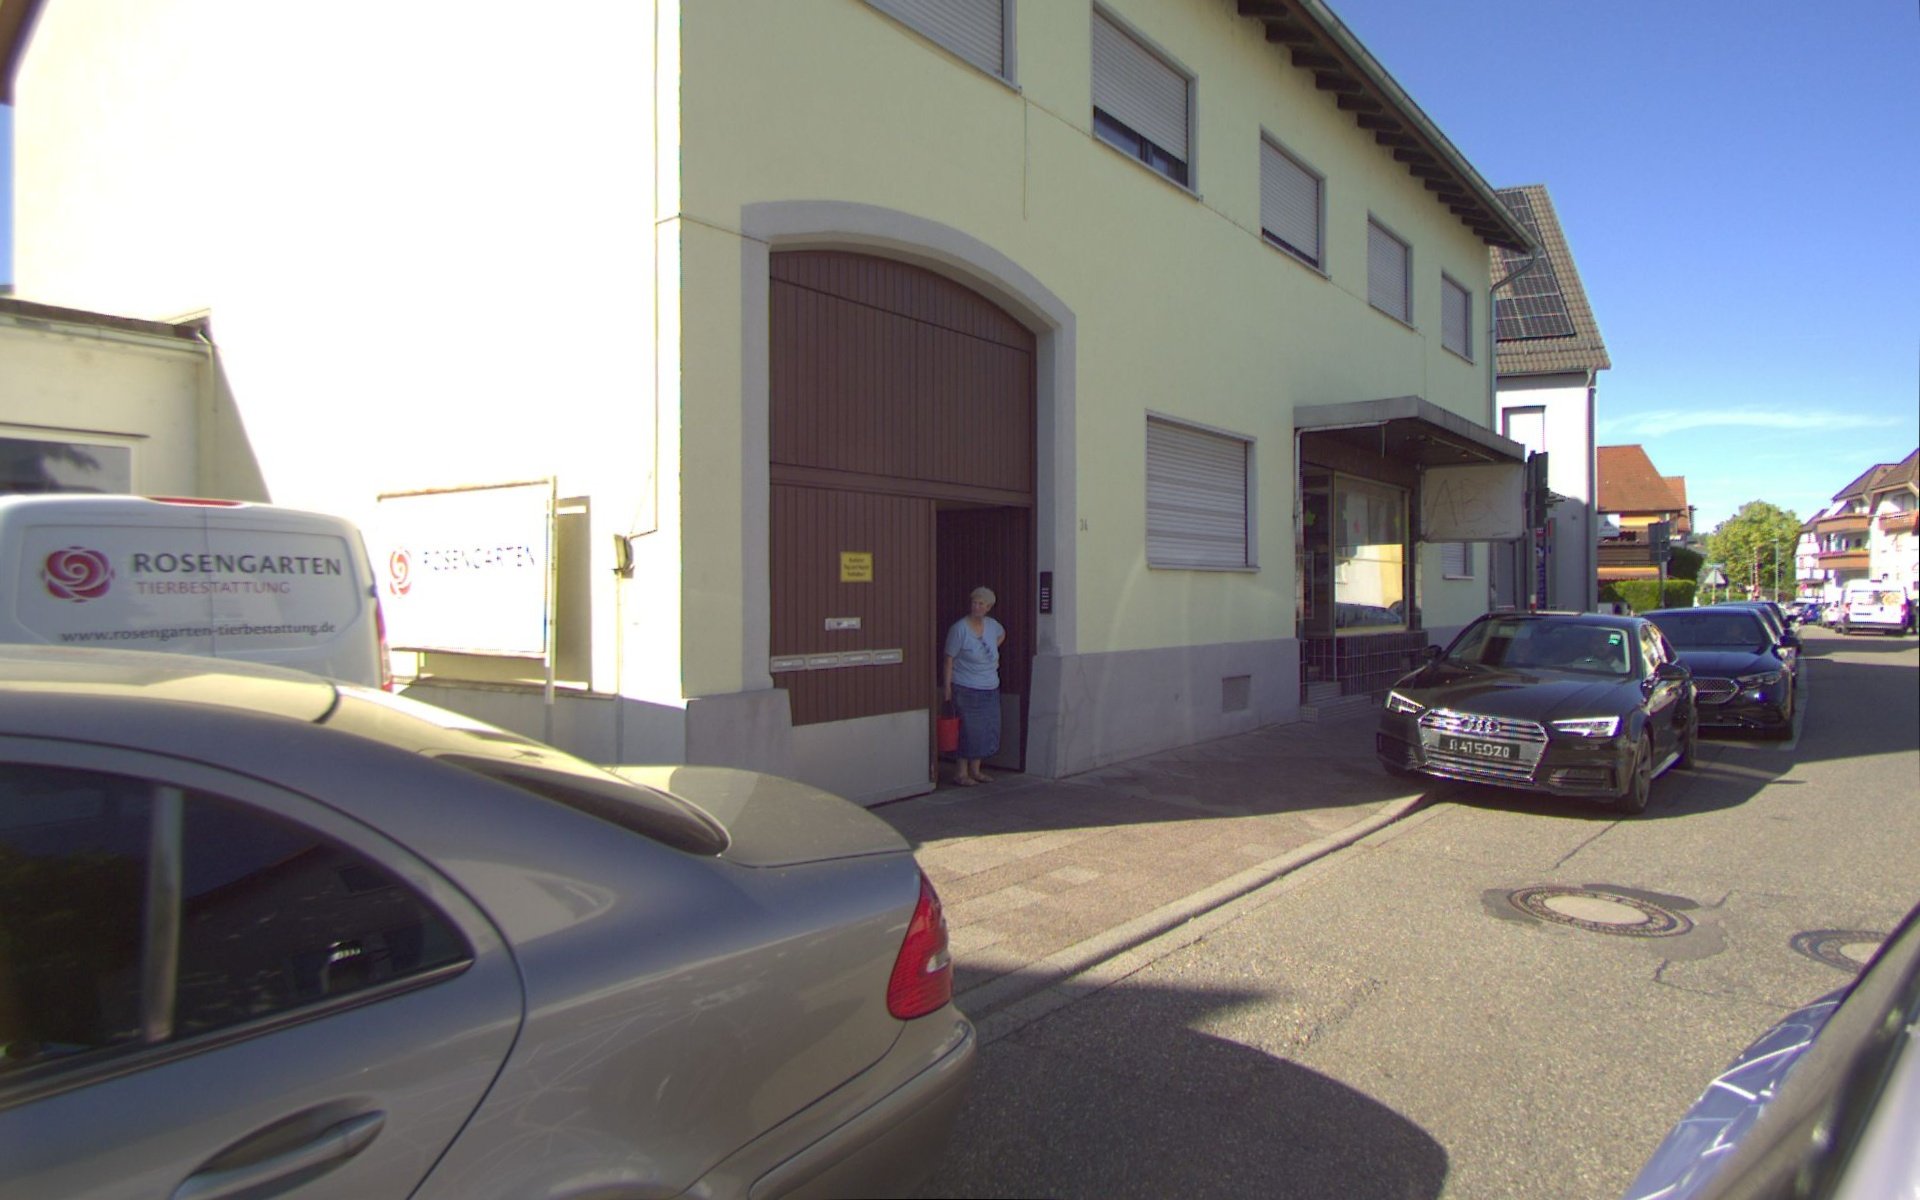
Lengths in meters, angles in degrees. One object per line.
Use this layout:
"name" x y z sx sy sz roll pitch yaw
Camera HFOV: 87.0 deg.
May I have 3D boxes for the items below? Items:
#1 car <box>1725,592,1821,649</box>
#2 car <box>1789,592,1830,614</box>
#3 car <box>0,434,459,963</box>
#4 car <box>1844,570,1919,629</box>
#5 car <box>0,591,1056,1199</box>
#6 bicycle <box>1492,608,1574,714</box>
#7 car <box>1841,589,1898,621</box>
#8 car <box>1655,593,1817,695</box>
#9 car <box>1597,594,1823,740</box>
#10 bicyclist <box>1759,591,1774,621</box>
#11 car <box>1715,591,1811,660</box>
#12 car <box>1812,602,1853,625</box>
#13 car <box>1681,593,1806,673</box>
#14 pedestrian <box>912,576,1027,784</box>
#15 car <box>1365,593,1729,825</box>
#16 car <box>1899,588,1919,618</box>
"car" 23.484 0.546 29.175 1.845 1.533 4.436 -1 0 43
"car" 62.552 0.195 74.584 1.751 1.576 3.954 0 0 32
"car" -4.943 0.266 5.655 4.750 1.910 1.883 3 1 37
"car" 41.965 -0.037 46.130 2.248 2.501 5.439 0 0 38
"car" -2.073 0.735 1.228 4.581 1.494 1.813 0 0 -43
"bicycle" 6.981 0.706 12.309 0.508 1.172 1.484 1 1 43
"car" 47.919 0.239 53.387 1.717 1.639 4.061 0 0 35
"car" 13.266 0.665 17.188 1.807 1.494 4.377 -2 -1 42
"car" 9.583 0.700 12.767 1.807 1.494 4.770 -2 -1 42
"bicyclist" 45.941 0.330 57.666 0.641 1.686 0.596 0 0 40
"car" 19.682 0.590 24.749 1.608 1.540 3.912 -2 -1 41
"car" 58.020 0.844 67.381 1.613 1.457 3.907 0 0 34
"car" 16.327 0.639 21.024 1.724 1.494 3.816 -2 -1 42
"pedestrian" 0.084 0.609 8.165 0.563 1.571 0.759 -2 -1 39
"car" 5.396 0.719 8.950 1.807 1.494 4.770 -2 -1 42
"car" 52.464 0.154 54.746 1.634 1.607 4.066 -1 0 31
